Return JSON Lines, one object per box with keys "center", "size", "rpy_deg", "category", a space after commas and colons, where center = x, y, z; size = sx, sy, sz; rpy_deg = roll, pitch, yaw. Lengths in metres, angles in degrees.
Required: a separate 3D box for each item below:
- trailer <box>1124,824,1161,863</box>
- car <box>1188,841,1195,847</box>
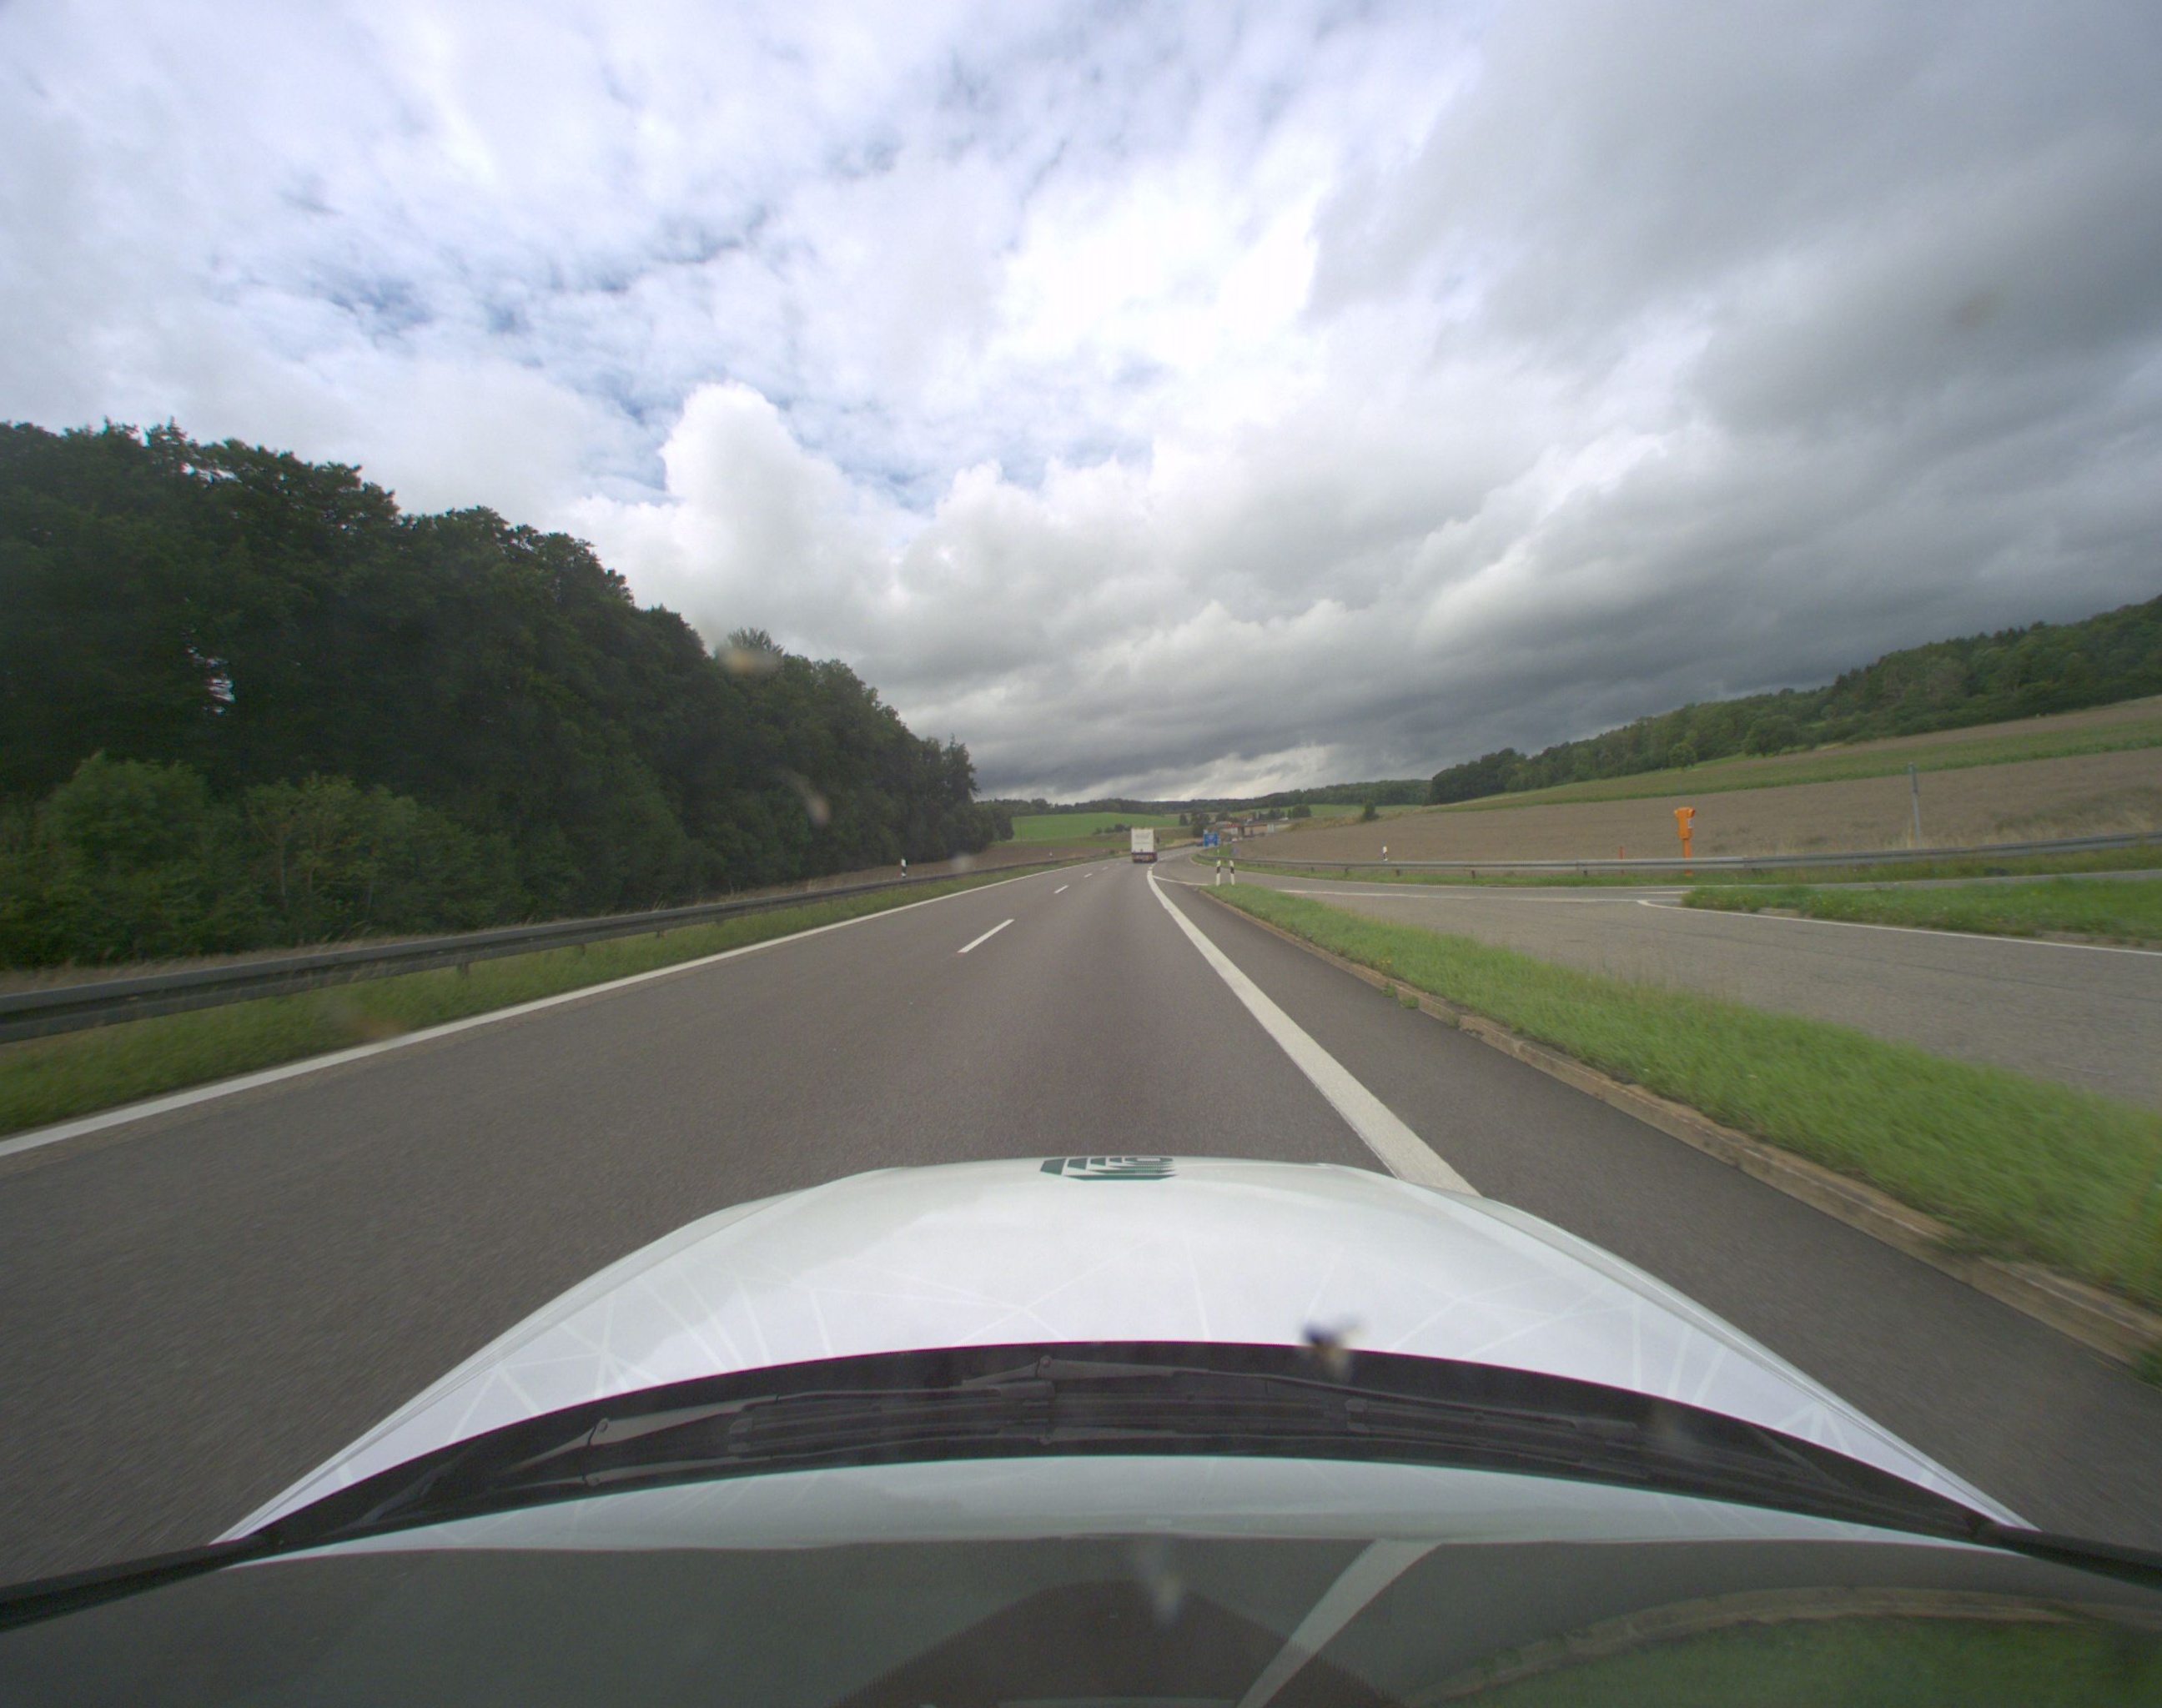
{"center": [7.513, -1.243, 97.456], "size": [3.786, 4.174, 14.833], "rpy_deg": [-2, 0, 6], "category": "trailer"}
{"center": [35.405, -3.168, 260.979], "size": [1.892, 1.795, 4.009], "rpy_deg": [-2, -2, 9], "category": "car"}
